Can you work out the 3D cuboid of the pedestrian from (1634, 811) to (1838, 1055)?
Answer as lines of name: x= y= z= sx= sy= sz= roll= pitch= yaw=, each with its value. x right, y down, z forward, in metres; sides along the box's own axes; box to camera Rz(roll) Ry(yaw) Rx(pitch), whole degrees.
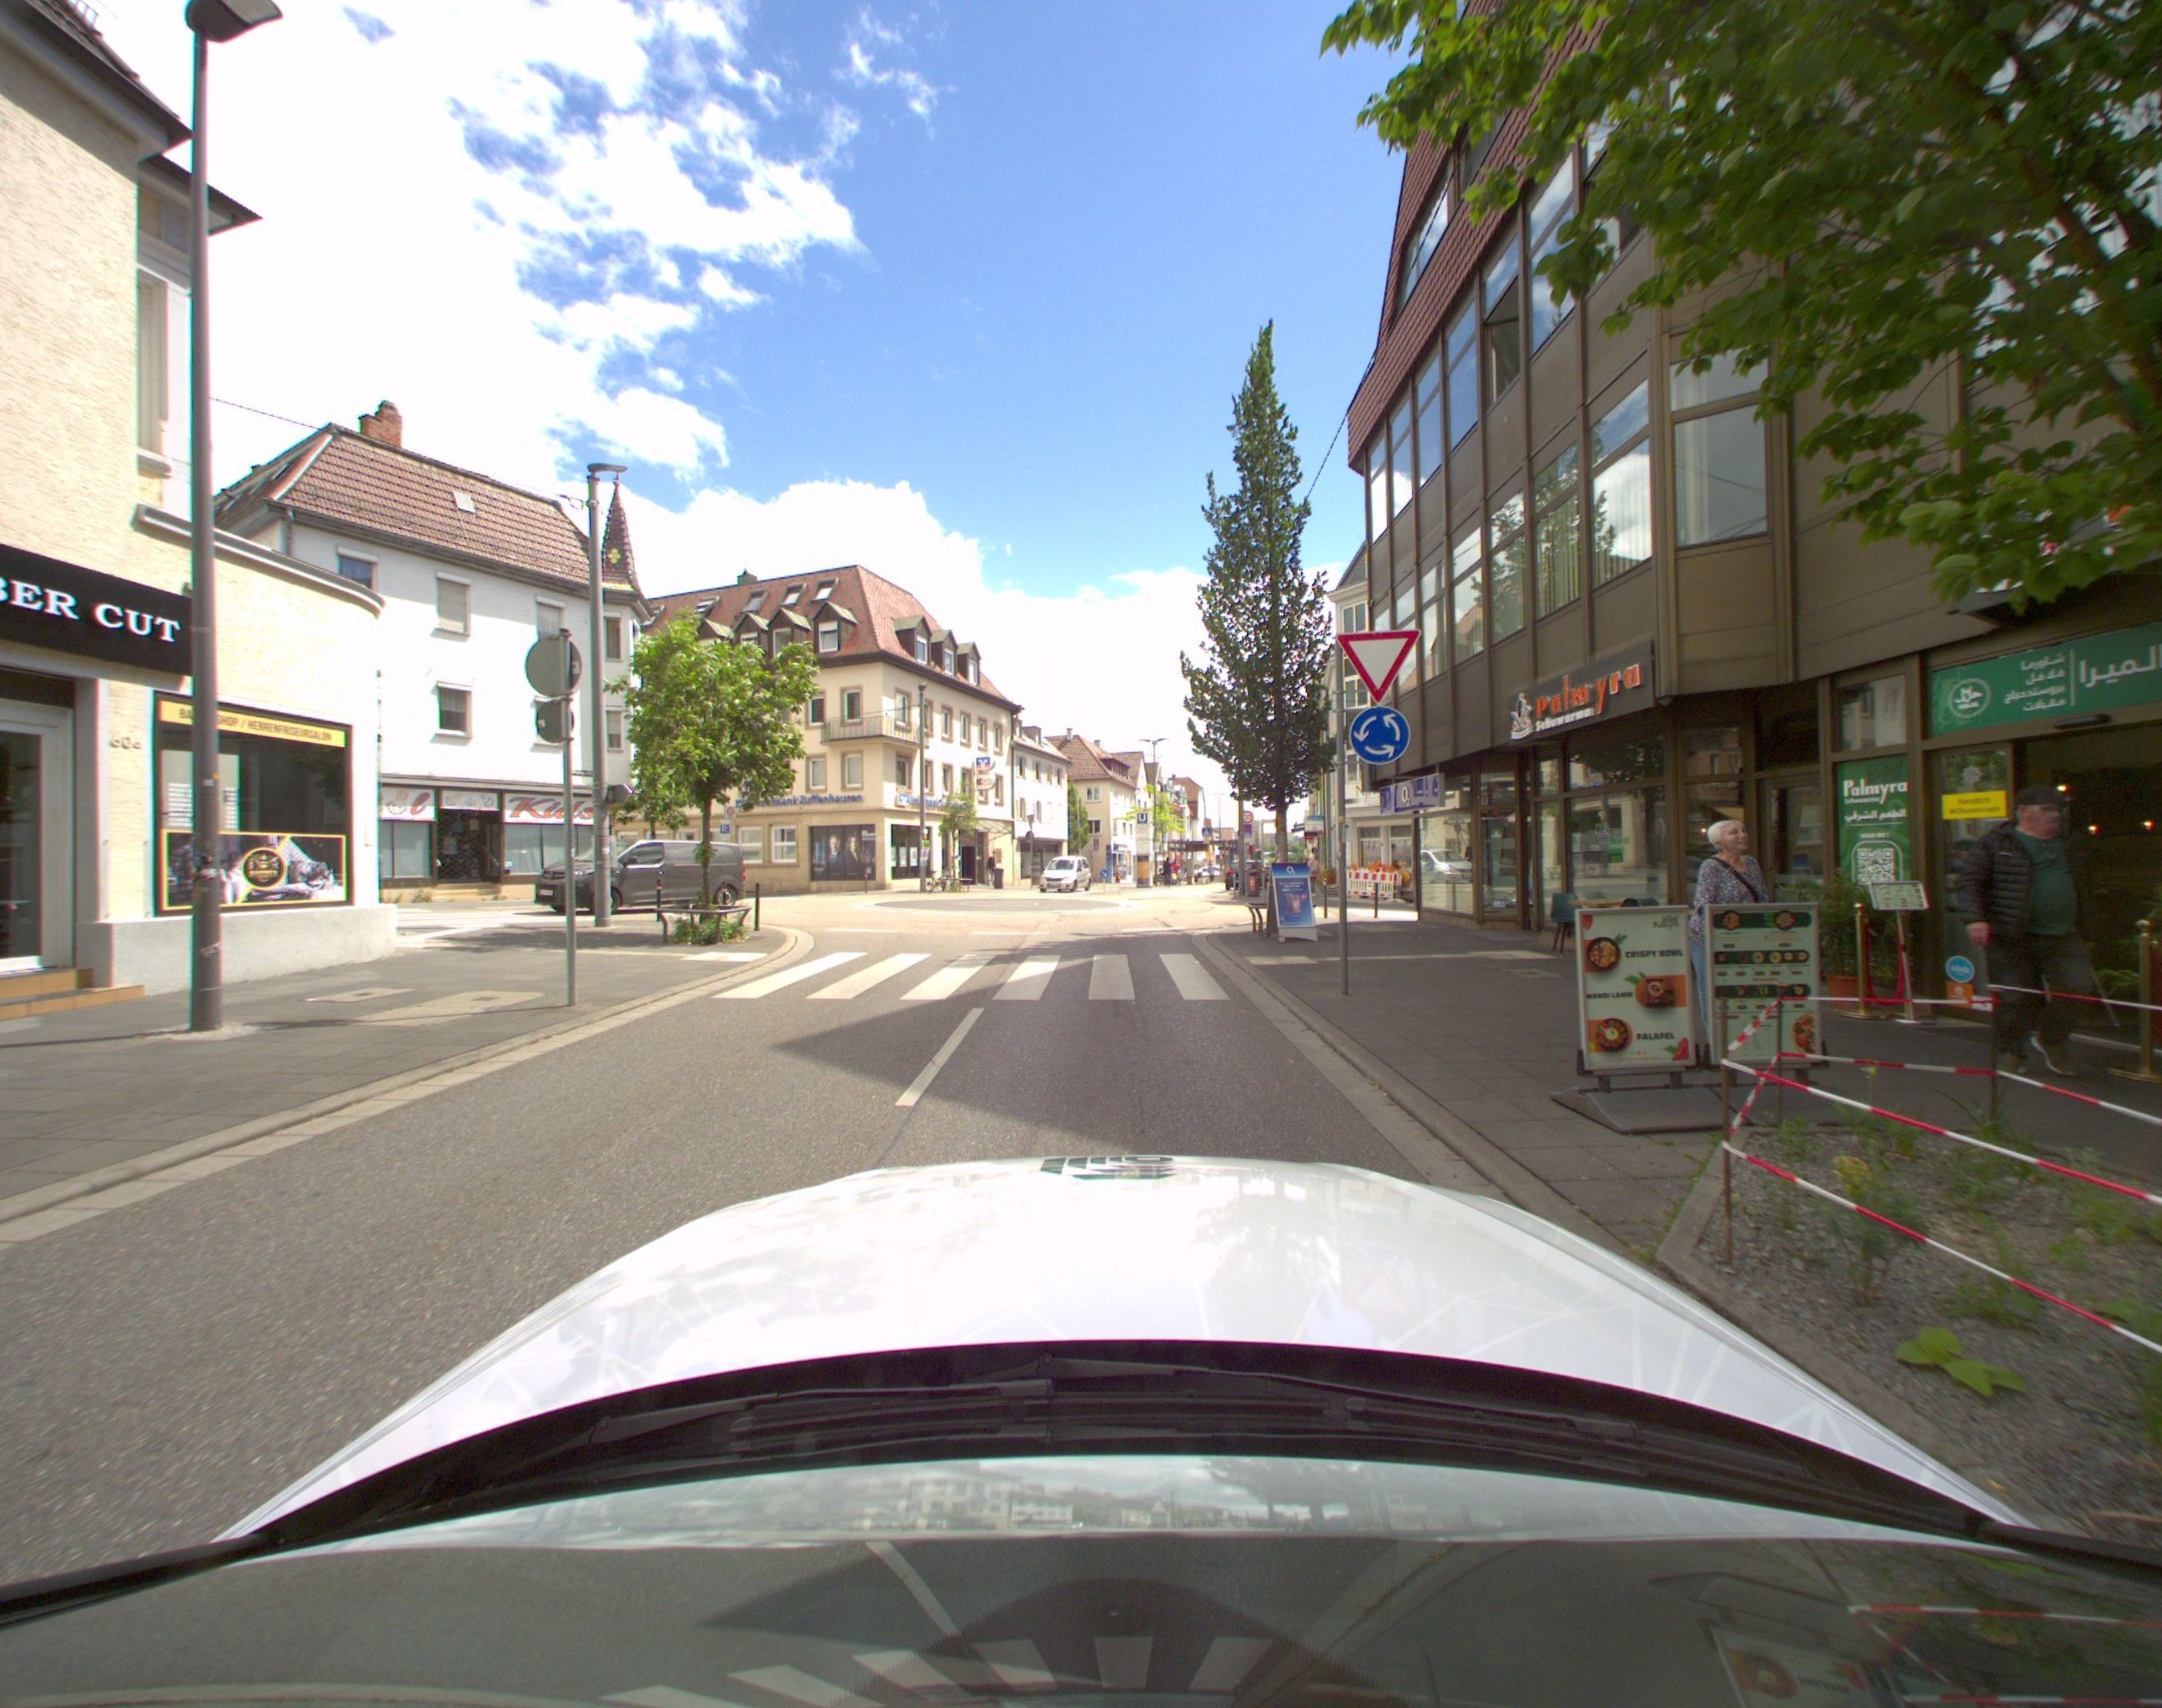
pedestrian: x=4.685 y=0.536 z=5.890 sx=0.781 sy=1.615 sz=0.800 roll=-2 pitch=-1 yaw=2

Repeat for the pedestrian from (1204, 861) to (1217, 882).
pedestrian: x=9.825 y=1.318 z=61.831 sx=0.720 sy=1.579 sz=0.753 roll=0 pitch=0 yaw=37

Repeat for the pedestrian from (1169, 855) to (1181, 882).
pedestrian: x=6.209 y=0.955 z=53.665 sx=0.722 sy=1.763 sz=0.751 roll=0 pitch=0 yaw=12

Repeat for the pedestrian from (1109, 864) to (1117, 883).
pedestrian: x=2.750 y=1.689 z=69.519 sx=0.689 sy=1.610 sz=0.645 roll=0 pitch=-1 yaw=5

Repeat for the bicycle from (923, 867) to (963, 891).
bicycle: x=-6.000 y=1.083 z=35.382 sx=1.619 sy=1.031 sz=0.570 roll=0 pitch=-1 yaw=17

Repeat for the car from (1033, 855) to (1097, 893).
car: x=-0.670 y=0.897 z=38.251 sx=1.979 sy=1.689 sz=4.015 roll=0 pitch=-1 yaw=14

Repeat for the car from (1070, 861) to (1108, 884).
car: x=0.611 y=1.308 z=58.583 sx=1.832 sy=1.545 sz=4.016 roll=0 pitch=-1 yaw=15

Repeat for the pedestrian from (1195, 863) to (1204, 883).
pedestrian: x=7.866 y=1.229 z=54.177 sx=0.588 sy=1.316 sz=0.592 roll=0 pitch=-1 yaw=7

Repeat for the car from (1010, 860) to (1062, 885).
car: x=-2.660 y=1.085 z=48.889 sx=1.979 sy=1.453 sz=4.016 roll=0 pitch=0 yaw=15

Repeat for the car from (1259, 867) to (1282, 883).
car: x=19.689 y=2.160 z=84.845 sx=1.939 sy=1.640 sz=4.008 roll=0 pitch=0 yaw=7

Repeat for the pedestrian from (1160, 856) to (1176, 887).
pedestrian: x=4.740 y=0.943 z=44.357 sx=0.865 sy=1.708 sz=0.531 roll=0 pitch=-1 yaw=4

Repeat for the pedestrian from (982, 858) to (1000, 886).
pedestrian: x=-5.008 y=0.979 z=45.506 sx=0.620 sy=1.532 sz=0.864 roll=0 pitch=-1 yaw=26

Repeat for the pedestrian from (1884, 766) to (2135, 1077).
pedestrian: x=5.749 y=0.395 z=5.090 sx=0.806 sy=1.813 sz=0.655 roll=0 pitch=-1 yaw=2

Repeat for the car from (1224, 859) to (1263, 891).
car: x=8.190 y=1.016 z=40.829 sx=1.685 sy=1.530 sz=3.485 roll=0 pitch=-1 yaw=16

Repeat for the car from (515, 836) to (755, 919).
car: x=-11.153 y=0.547 z=20.814 sx=2.021 sy=1.848 sz=5.030 roll=0 pitch=-1 yaw=30

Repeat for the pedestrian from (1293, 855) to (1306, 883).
pedestrian: x=13.128 y=0.904 z=48.963 sx=0.619 sy=1.690 sz=0.652 roll=0 pitch=-1 yaw=1

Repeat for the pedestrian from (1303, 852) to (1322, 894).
pedestrian: x=9.332 y=0.761 z=32.877 sx=0.619 sy=1.690 sz=0.652 roll=0 pitch=-1 yaw=1

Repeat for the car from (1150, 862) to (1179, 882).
car: x=7.244 y=1.528 z=70.471 sx=1.861 sy=1.624 sz=4.016 roll=0 pitch=-1 yaw=15

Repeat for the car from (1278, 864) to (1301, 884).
car: x=16.046 y=1.505 z=62.560 sx=1.685 sy=1.530 sz=3.485 roll=0 pitch=-1 yaw=16
